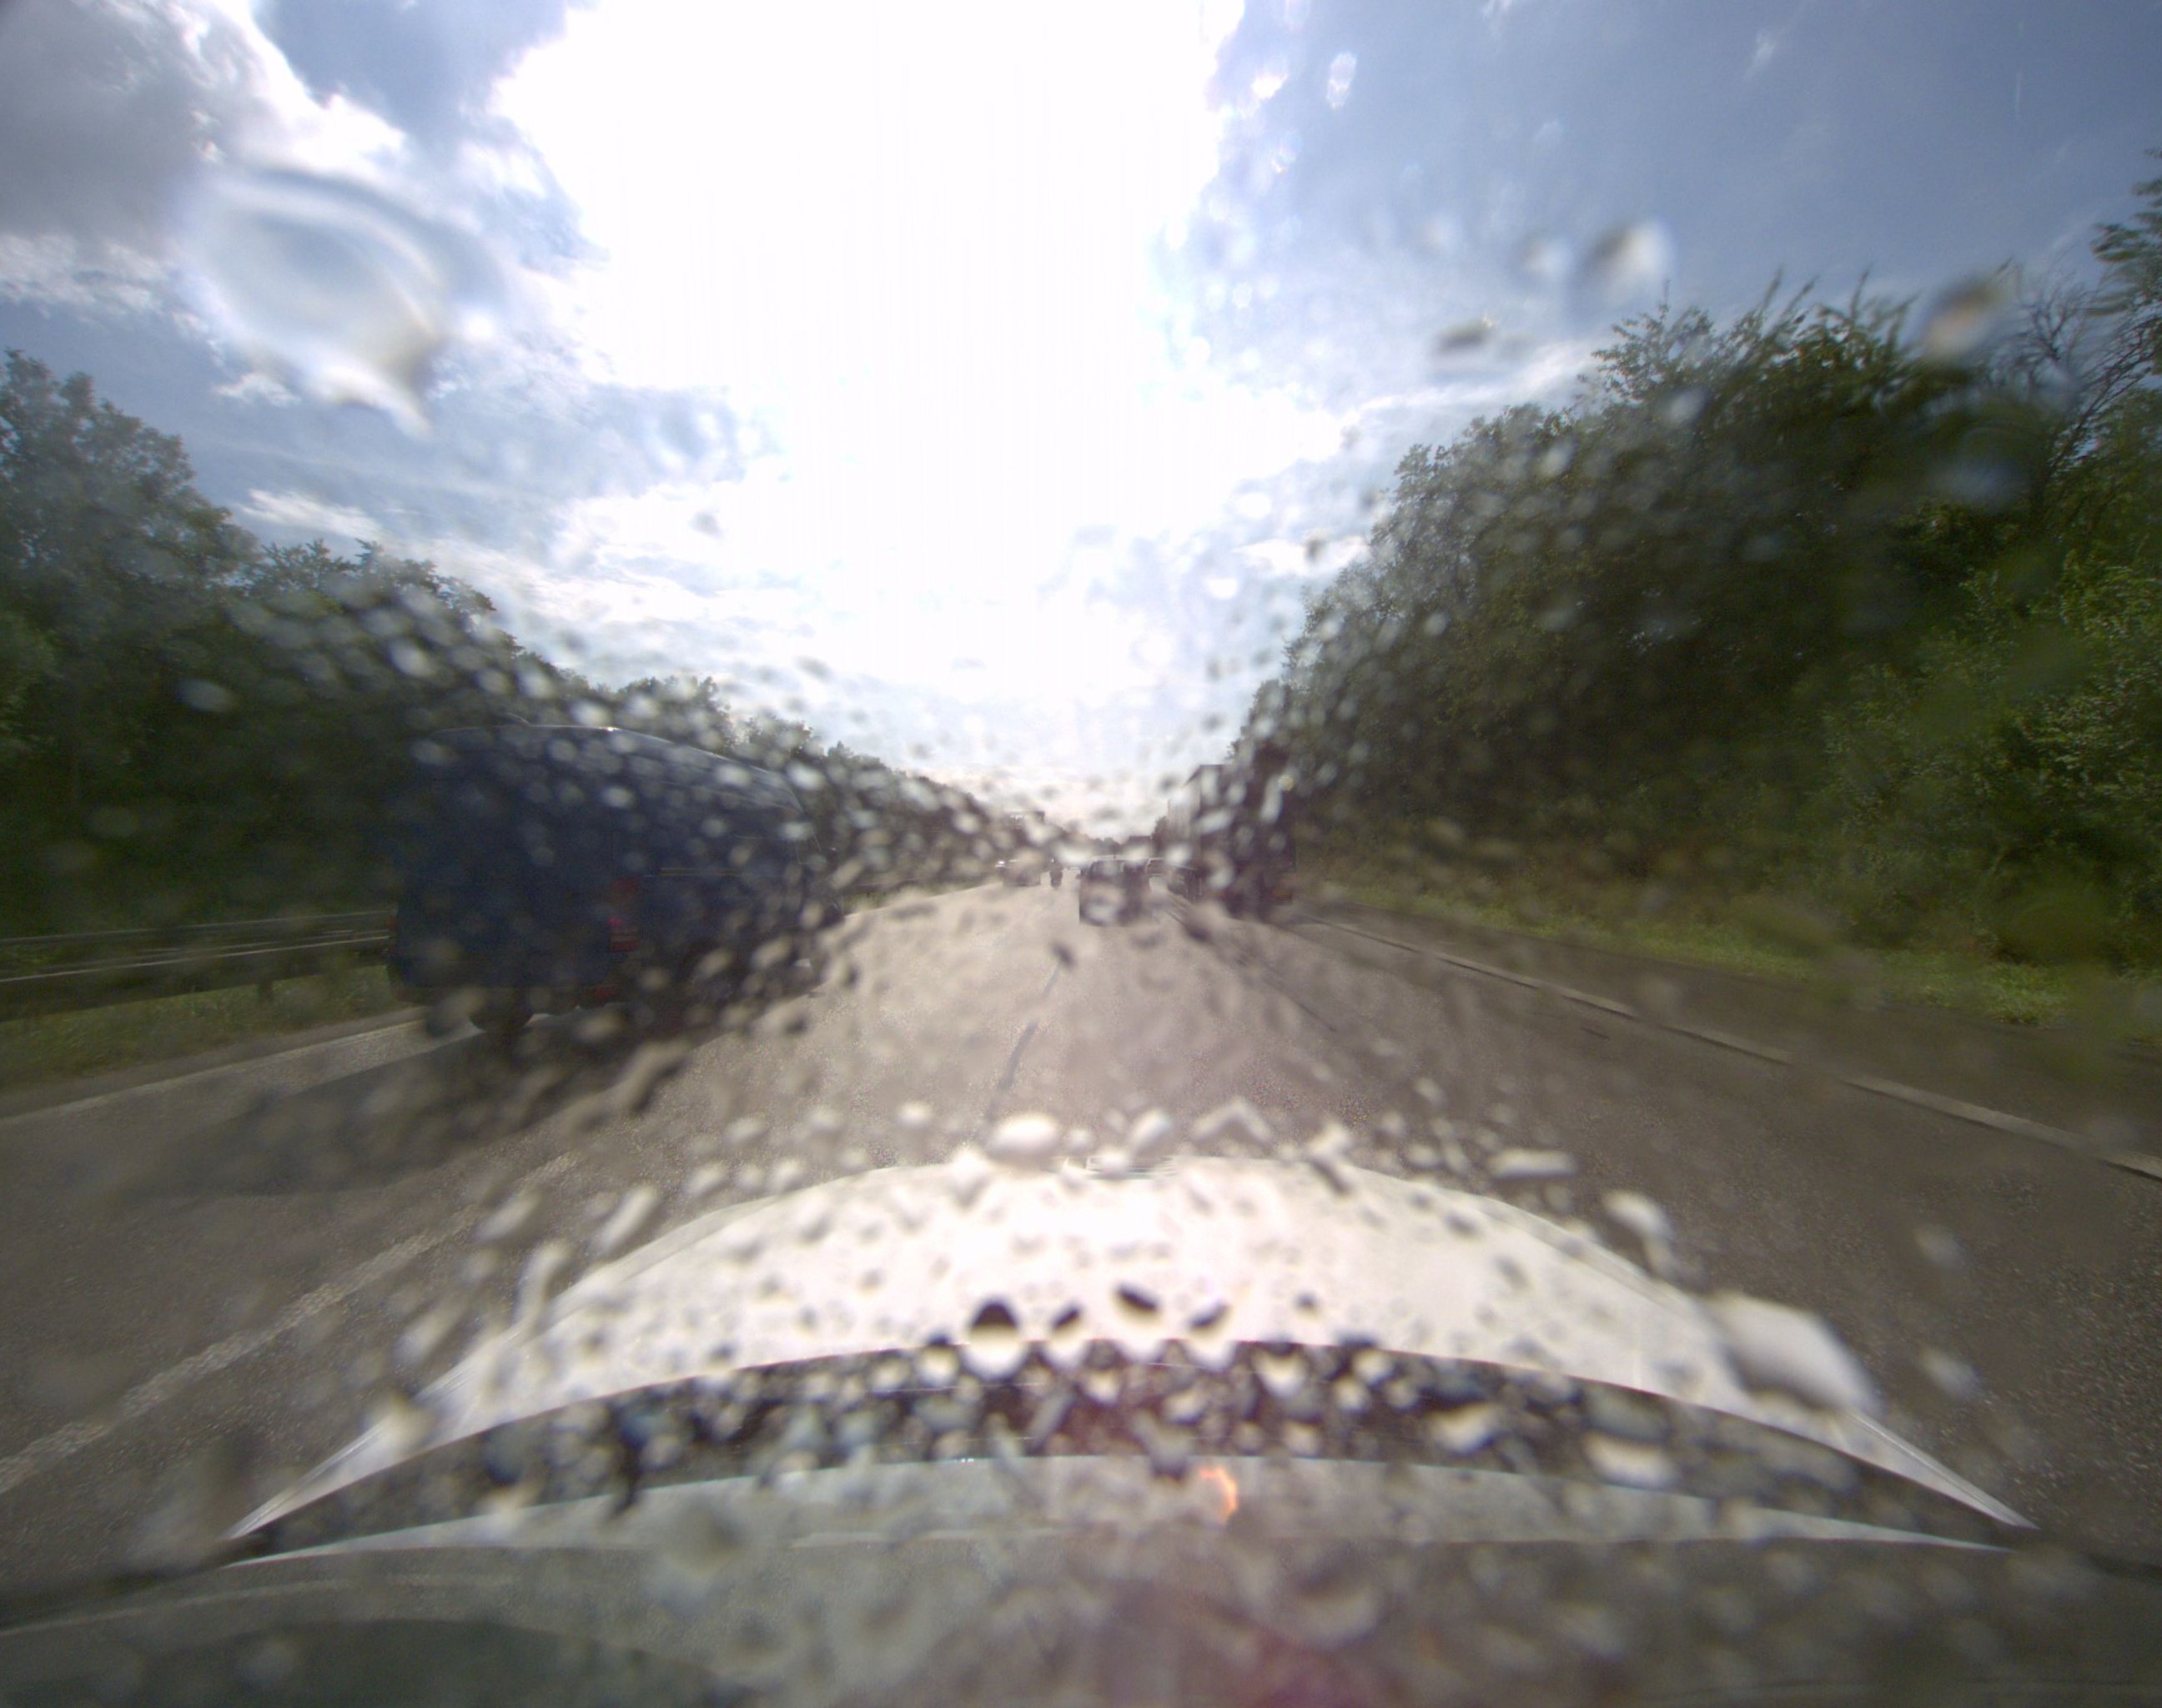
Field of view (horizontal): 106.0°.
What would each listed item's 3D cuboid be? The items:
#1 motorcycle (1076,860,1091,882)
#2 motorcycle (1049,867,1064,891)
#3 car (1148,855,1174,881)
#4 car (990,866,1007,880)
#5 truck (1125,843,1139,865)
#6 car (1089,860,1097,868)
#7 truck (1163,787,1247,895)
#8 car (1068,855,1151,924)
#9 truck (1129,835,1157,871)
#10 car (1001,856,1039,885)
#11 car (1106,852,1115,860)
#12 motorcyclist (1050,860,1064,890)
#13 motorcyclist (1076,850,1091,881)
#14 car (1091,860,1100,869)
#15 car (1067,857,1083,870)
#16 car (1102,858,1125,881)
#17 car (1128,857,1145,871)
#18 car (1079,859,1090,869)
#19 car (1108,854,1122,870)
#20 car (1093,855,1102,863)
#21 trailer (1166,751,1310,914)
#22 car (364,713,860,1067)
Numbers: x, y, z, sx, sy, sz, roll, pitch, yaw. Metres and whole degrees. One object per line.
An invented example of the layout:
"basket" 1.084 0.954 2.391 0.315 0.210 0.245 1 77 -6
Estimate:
"motorcycle" 0.172 0.983 47.175 0.817 1.263 2.118 -1 0 1
"motorcycle" -1.182 1.209 39.716 0.674 1.087 1.981 0 0 -1
"car" 6.494 1.112 66.355 1.842 2.014 4.089 -1 -1 2
"car" -12.808 2.960 127.292 1.986 2.014 4.808 -1 -1 2
"truck" 11.438 0.125 183.011 2.871 4.688 12.663 -1 -1 2
"car" 2.417 1.958 164.578 1.669 1.490 3.437 -1 0 1
"truck" 5.317 -0.505 35.899 3.040 4.325 5.890 -1 -1 3
"car" 0.721 0.829 20.939 1.908 1.565 4.315 -1 0 1
"truck" 7.891 -0.123 105.180 3.189 4.404 9.437 -1 0 2
"car" -3.447 0.914 46.676 1.752 1.595 4.332 -1 0 2
"car" 5.707 0.443 156.263 1.626 1.490 3.437 -1 0 1
"motorcyclist" -1.181 1.026 39.740 0.668 1.442 1.019 -1 -1 -1
"motorcyclist" 0.169 0.672 47.152 0.818 1.761 1.390 -1 -1 1
"car" 3.362 2.465 190.187 1.986 2.014 4.001 -1 -1 1
"car" -0.793 1.250 108.234 1.886 1.628 4.196 -1 0 1
"car" 2.977 1.424 75.217 1.986 2.014 4.001 -1 -1 1
"car" 5.928 1.038 87.196 1.669 1.490 3.437 -1 0 1
"car" 0.609 1.694 138.196 1.669 1.597 3.437 -1 0 1
"car" 4.128 0.971 100.416 1.669 1.936 3.774 -1 0 1
"car" 4.188 1.203 206.190 1.986 2.014 4.001 -1 -1 1
"trailer" 4.913 -0.532 28.750 3.075 4.312 14.116 -1 0 3
"car" -4.330 0.289 9.035 2.008 2.648 5.778 -1 0 2
